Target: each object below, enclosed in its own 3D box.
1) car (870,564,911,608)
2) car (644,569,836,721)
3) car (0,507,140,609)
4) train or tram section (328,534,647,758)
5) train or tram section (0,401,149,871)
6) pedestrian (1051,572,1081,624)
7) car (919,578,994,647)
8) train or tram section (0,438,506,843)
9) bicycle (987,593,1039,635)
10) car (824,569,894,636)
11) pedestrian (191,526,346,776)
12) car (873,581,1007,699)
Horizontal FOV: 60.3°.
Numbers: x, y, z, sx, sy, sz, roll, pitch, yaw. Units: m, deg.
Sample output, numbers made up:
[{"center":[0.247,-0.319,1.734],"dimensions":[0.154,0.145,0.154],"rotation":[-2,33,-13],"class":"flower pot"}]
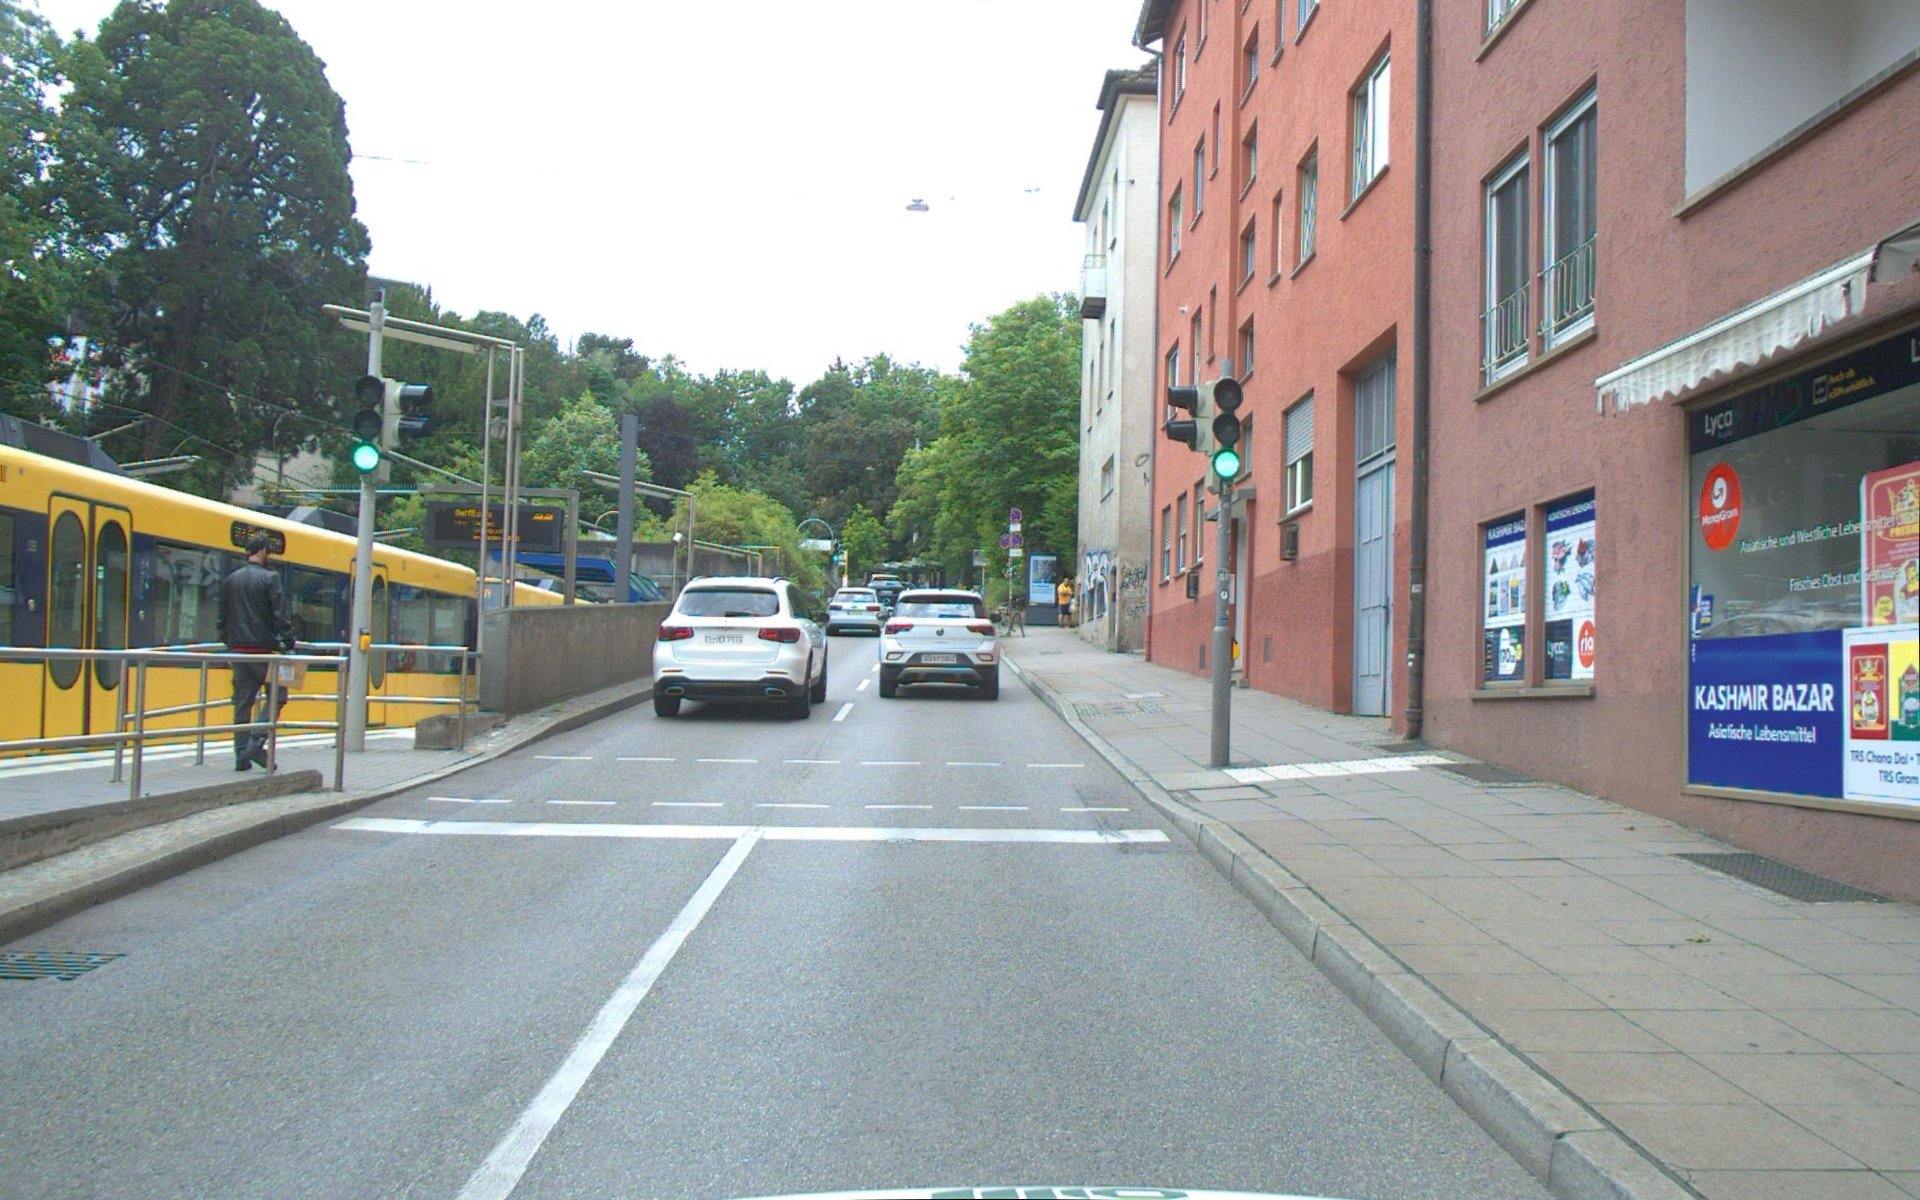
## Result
[{"center":[-3.213,-0.650,77.236],"dimensions":[1.714,1.914,3.999],"rotation":[3,0,-1],"class":"car"},{"center":[-2.646,0.500,20.849],"dimensions":[1.838,1.681,4.341],"rotation":[-1,0,0],"class":"car"},{"center":[-19.937,-0.888,36.262],"dimensions":[1.954,2.049,3.997],"rotation":[3,-1,-3],"class":"car"},{"center":[-8.868,0.895,33.243],"dimensions":[2.889,3.570,12.981],"rotation":[1,-1,-1],"class":"train or tram section"},{"center":[-8.625,0.032,8.477],"dimensions":[2.889,3.533,12.214],"rotation":[1,-3,-1],"class":"train or tram section"},{"center":[3.600,-0.079,56.060],"dimensions":[0.819,1.742,0.818],"rotation":[0,0,-15],"class":"pedestrian"},{"center":[-0.098,0.307,43.118],"dimensions":[1.823,1.660,3.959],"rotation":[2,0,-1],"class":"car"},{"center":[-8.794,0.536,20.660],"dimensions":[2.889,3.545,12.215],"rotation":[1,-2,-1],"class":"train or tram section"},{"center":[1.551,0.433,48.638],"dimensions":[0.631,1.163,2.048],"rotation":[-1,-1,-25],"class":"bicycle"},{"center":[-3.158,0.062,52.194],"dimensions":[1.953,1.914,3.999],"rotation":[3,0,-1],"class":"car"},{"center":[-5.235,0.376,12.571],"dimensions":[0.784,1.808,0.818],"rotation":[2,0,-1],"class":"pedestrian"},{"center":[-0.263,0.551,24.996],"dimensions":[1.826,1.583,3.895],"rotation":[2,0,0],"class":"car"}]
